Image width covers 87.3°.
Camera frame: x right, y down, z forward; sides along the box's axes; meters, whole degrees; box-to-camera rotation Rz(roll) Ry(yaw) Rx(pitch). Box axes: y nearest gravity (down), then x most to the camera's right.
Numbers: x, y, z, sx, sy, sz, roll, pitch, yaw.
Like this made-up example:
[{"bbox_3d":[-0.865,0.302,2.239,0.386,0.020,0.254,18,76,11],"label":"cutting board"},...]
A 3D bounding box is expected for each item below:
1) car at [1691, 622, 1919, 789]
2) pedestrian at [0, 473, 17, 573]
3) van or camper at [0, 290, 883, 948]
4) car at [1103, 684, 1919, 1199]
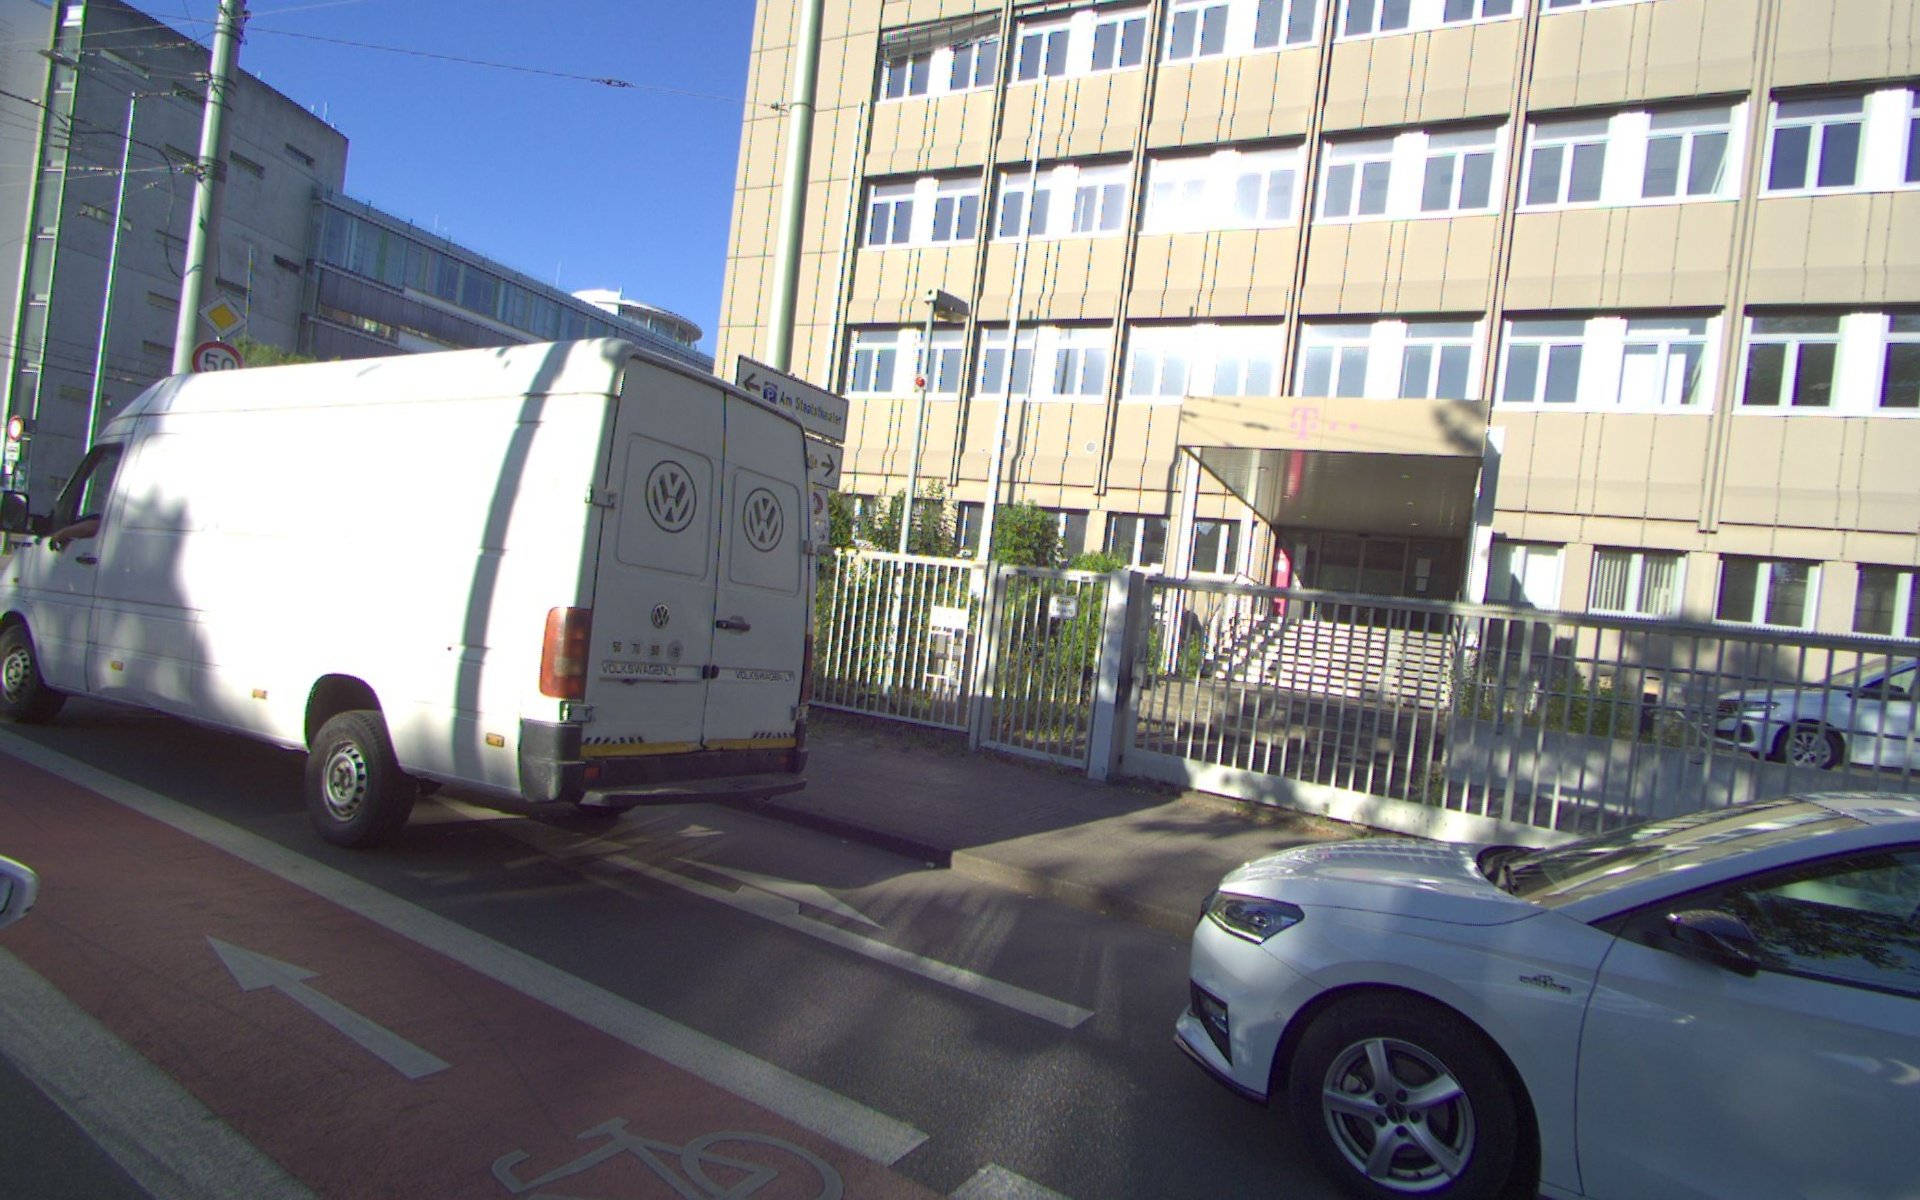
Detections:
[{"bbox_3d":[12.812,1.532,13.251,4.701,1.865,1.998,7,0,27],"label":"car"},{"bbox_3d":[-18.613,-1.516,19.054,1.197,1.846,0.777,7,1,37],"label":"pedestrian"},{"bbox_3d":[-3.780,-0.154,6.531,6.196,2.748,1.973,7,-1,29],"label":"van or camper"},{"bbox_3d":[2.685,1.254,3.018,4.006,1.405,1.705,7,-1,30],"label":"car"}]
